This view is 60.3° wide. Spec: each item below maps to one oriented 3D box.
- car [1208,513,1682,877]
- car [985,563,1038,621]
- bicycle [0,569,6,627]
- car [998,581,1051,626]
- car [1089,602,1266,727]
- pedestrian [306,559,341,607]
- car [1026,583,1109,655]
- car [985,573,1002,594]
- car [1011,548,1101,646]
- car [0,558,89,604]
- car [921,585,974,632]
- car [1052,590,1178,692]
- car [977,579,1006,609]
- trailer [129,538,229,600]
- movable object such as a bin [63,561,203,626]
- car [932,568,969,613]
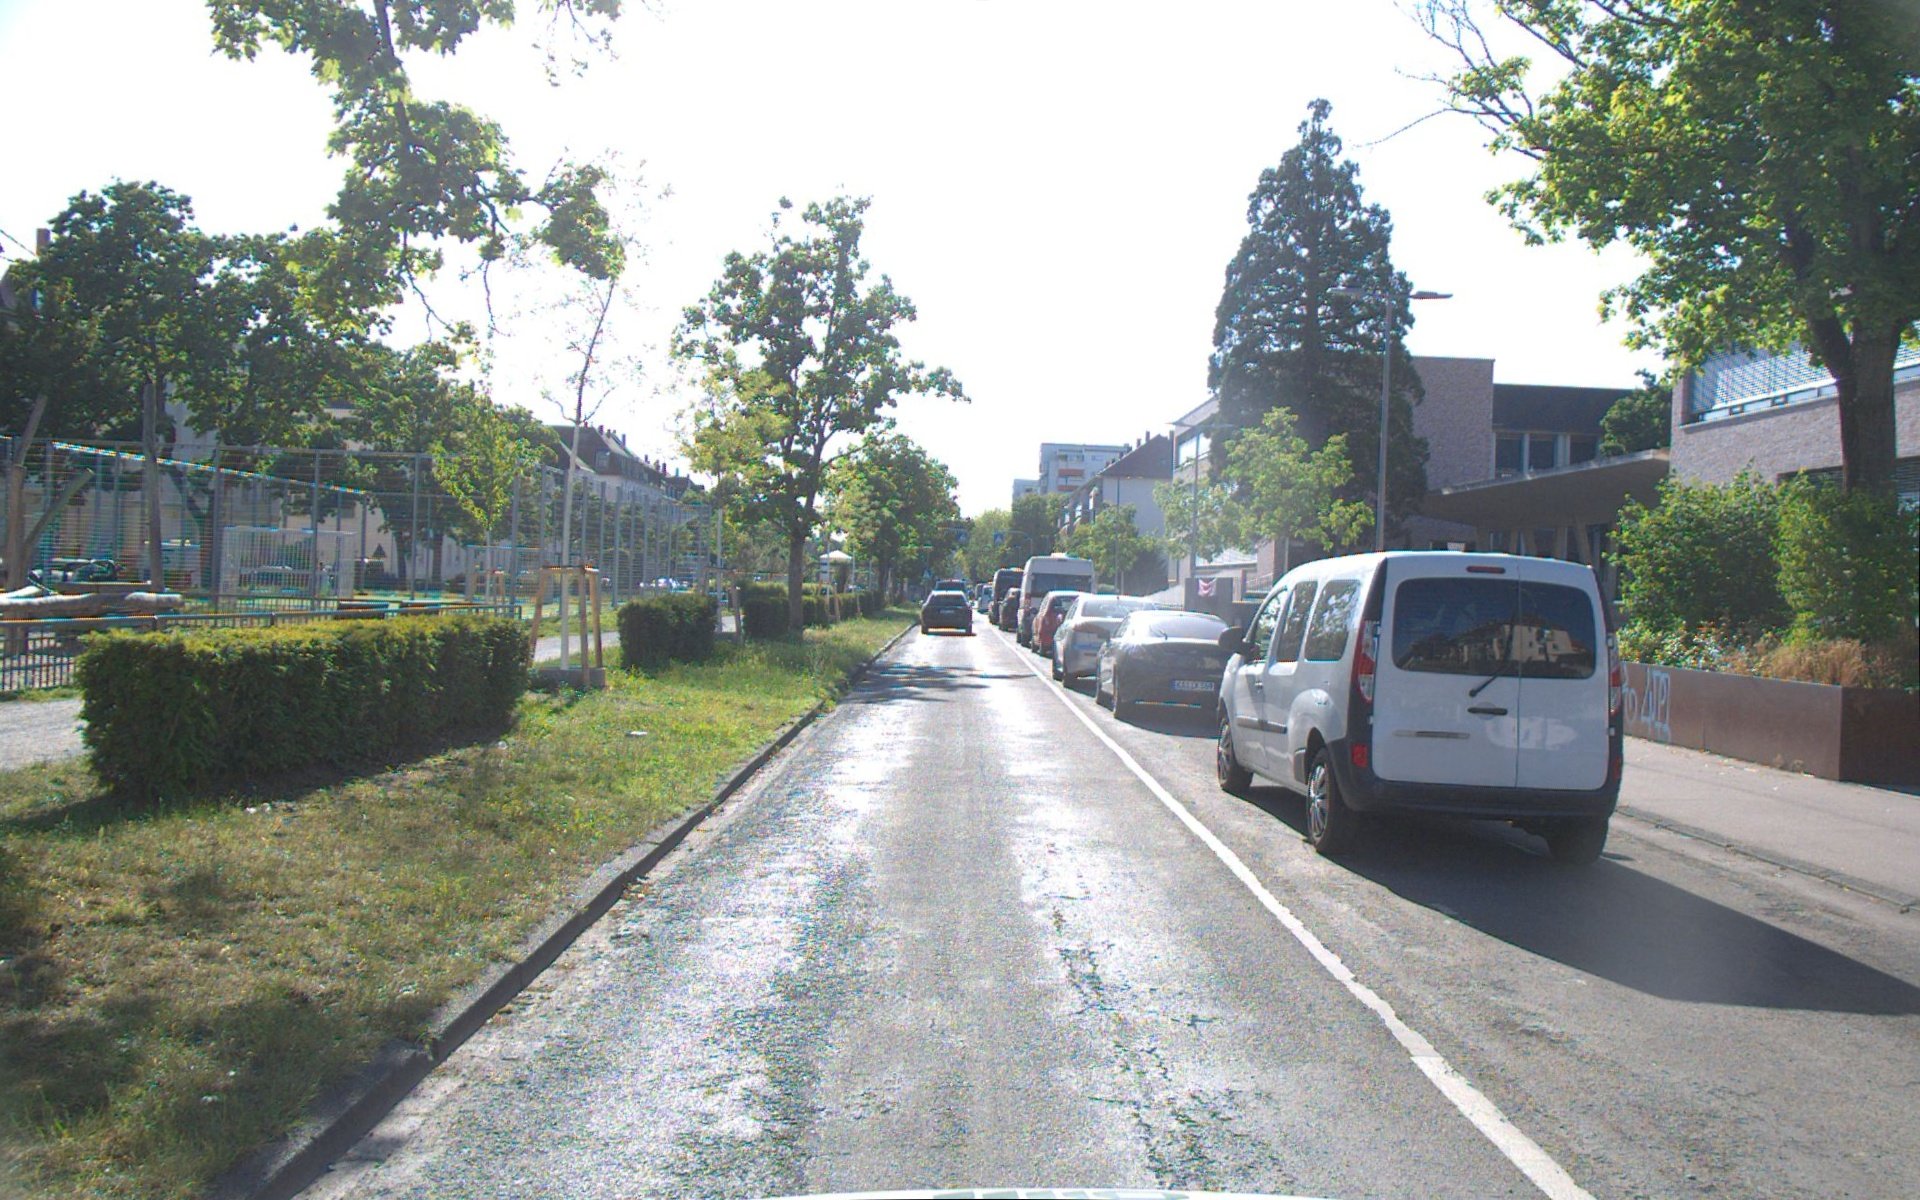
[{"bbox_3d":[3.032,0.501,11.418,1.771,1.941,4.460,3,1,-2],"label":"car"},{"bbox_3d":[2.363,-0.414,77.942,2.072,2.559,6.530,2,1,-2],"label":"car"},{"bbox_3d":[-19.491,-0.075,31.949,1.758,1.127,0.500,2,1,-2],"label":"bicycle"},{"bbox_3d":[2.528,0.119,65.822,1.808,1.669,4.503,2,1,-1],"label":"car"},{"bbox_3d":[2.733,0.760,21.597,1.667,1.348,4.129,3,1,-1],"label":"car"},{"bbox_3d":[-18.341,-0.486,47.675,0.636,1.341,0.649,2,0,29],"label":"pedestrian"},{"bbox_3d":[2.591,0.429,40.527,1.587,1.616,3.590,2,1,-2],"label":"car"},{"bbox_3d":[4.209,-2.057,209.907,1.953,2.472,4.500,4,1,0],"label":"car"},{"bbox_3d":[2.728,-0.108,48.189,2.195,2.619,5.432,3,0,0],"label":"car"},{"bbox_3d":[-39.015,-0.825,70.113,1.757,1.808,4.489,2,1,0],"label":"car"},{"bbox_3d":[-0.422,0.271,58.204,1.757,1.536,4.000,2,1,0],"label":"car"},{"bbox_3d":[2.522,0.624,27.793,1.667,1.504,4.173,3,1,0],"label":"car"},{"bbox_3d":[2.139,-0.439,111.376,1.757,1.887,4.414,2,1,2],"label":"car"},{"bbox_3d":[-39.375,-1.573,83.562,2.296,2.920,5.802,2,1,-1],"label":"trailer"},{"bbox_3d":[-16.758,-0.139,33.576,2.284,1.263,1.055,1,1,-5],"label":"movable object such as a bin"},{"bbox_3d":[-0.451,-0.479,83.410,1.757,2.159,4.000,2,1,0],"label":"car"}]
